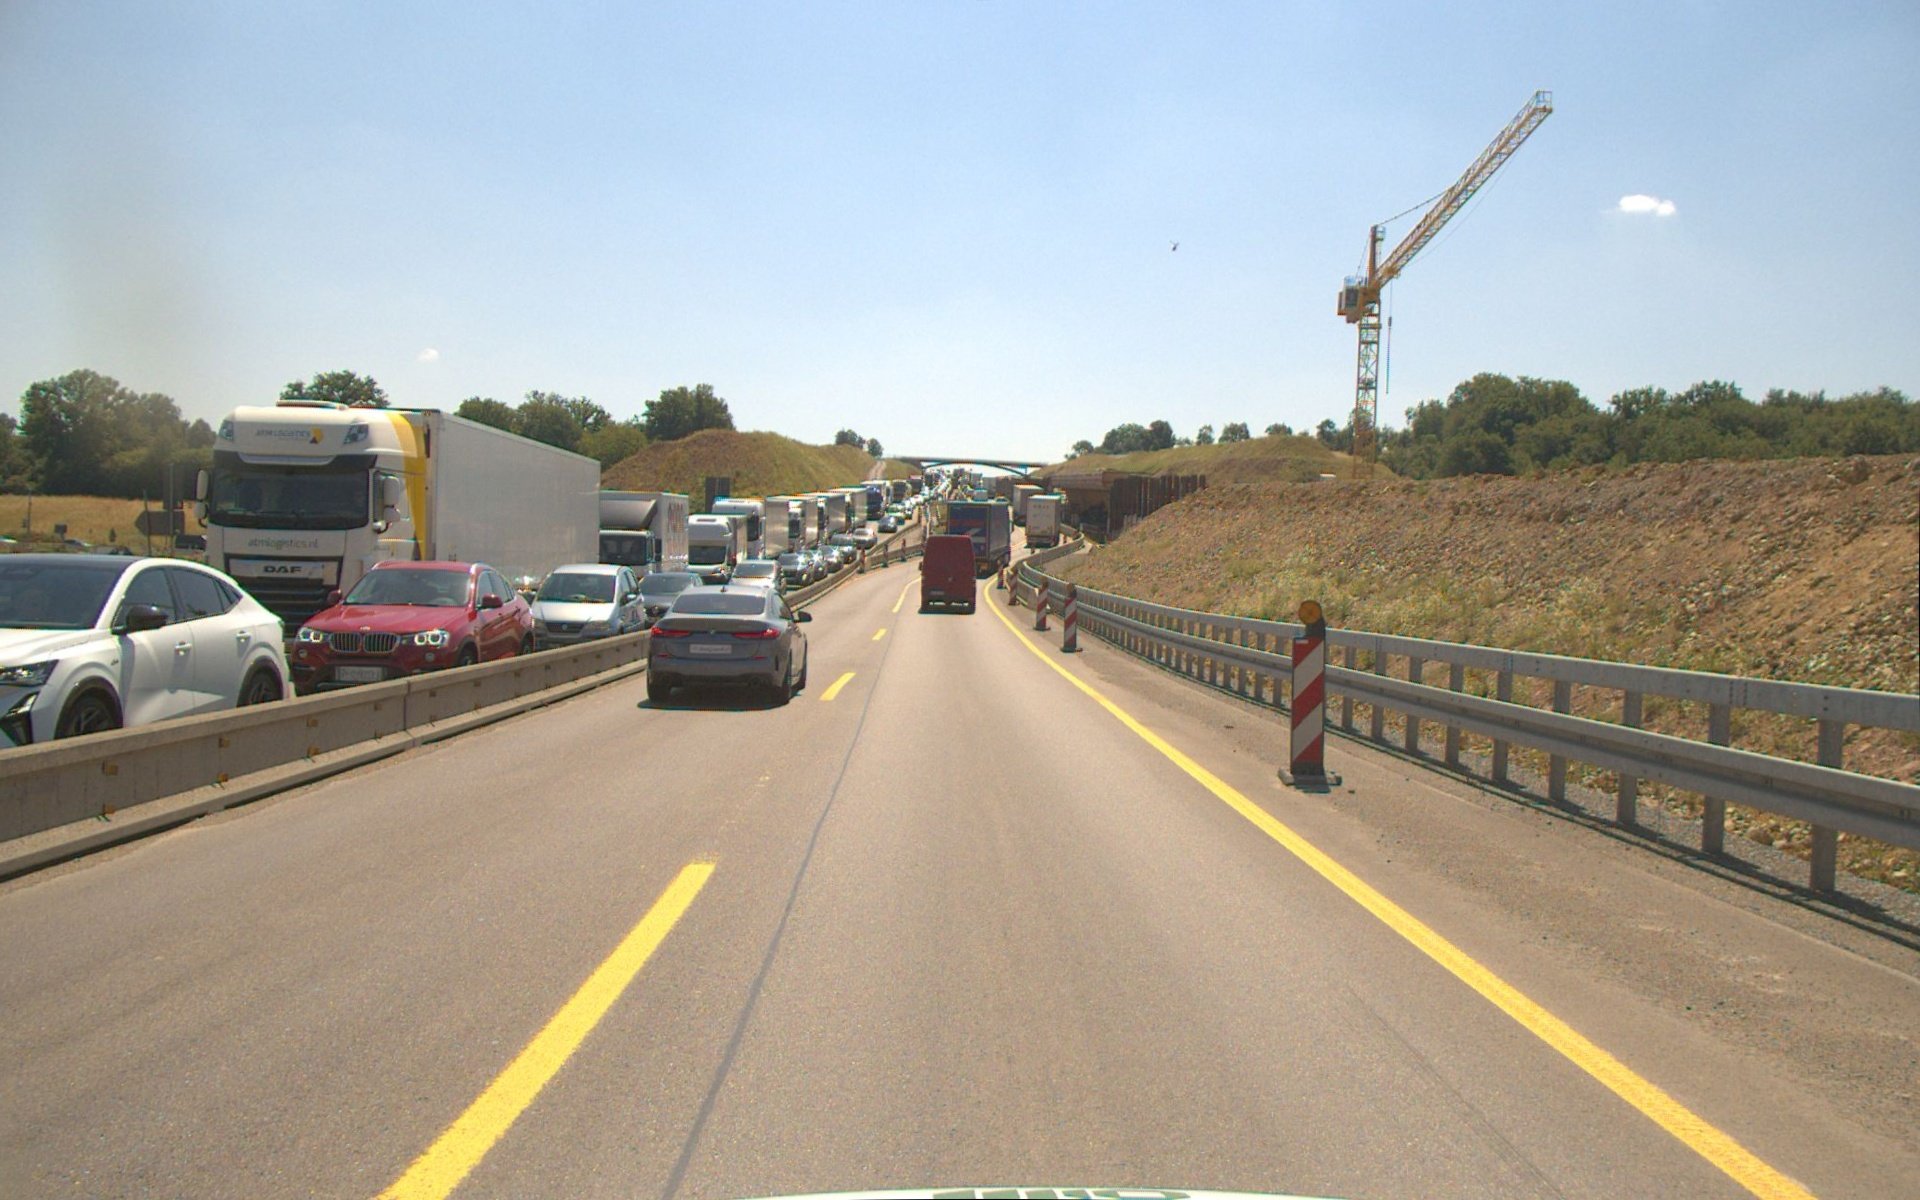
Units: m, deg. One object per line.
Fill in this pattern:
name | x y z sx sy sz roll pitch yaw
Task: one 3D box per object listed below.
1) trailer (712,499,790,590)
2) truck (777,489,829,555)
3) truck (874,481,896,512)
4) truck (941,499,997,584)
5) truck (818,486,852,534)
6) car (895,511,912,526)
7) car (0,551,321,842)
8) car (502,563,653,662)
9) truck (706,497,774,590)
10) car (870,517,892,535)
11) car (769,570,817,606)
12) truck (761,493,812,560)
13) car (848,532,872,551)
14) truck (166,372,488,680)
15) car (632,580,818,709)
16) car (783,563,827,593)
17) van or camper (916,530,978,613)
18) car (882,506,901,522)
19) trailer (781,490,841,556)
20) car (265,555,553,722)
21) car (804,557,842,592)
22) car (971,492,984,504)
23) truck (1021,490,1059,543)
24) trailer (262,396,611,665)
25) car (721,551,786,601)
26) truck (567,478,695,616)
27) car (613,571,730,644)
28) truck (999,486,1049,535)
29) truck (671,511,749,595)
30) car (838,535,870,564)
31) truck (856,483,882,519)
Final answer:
trailer | -10.767 -2.870 86.333 2.542 4.331 12.468 1 2 -1
truck | -11.224 -5.568 118.436 2.989 4.558 5.981 1 2 1
truck | -10.232 -14.164 226.303 2.830 3.905 7.999 1 2 -3
truck | 0.600 -3.432 97.111 2.957 4.774 6.936 0 2 3
truck | -10.860 -7.771 144.255 2.629 3.905 7.383 1 2 -3
car | -6.674 -9.610 194.846 1.913 1.556 4.267 1 2 -1
car | -6.410 0.512 11.756 1.953 1.648 4.880 1 0 -2
car | -6.655 0.188 29.173 1.790 1.601 3.999 1 0 -1
truck | -10.690 -2.748 80.802 2.499 4.304 6.530 1 2 -1
car | -7.594 -7.074 158.514 1.913 1.556 4.267 1 2 -1
car | -7.514 -0.546 74.916 1.790 1.562 4.545 0 0 -1
truck | -10.761 -4.523 102.947 2.726 3.937 5.459 1 0 -2
car | -7.808 -4.577 129.417 1.711 1.433 4.000 1 2 -1
truck | -9.737 -1.085 26.183 2.917 4.257 5.872 1 1 -2
car | -2.984 0.501 21.944 1.814 1.477 4.741 2 1 -1
car | -7.961 -1.140 85.259 1.864 1.400 4.546 -1 2 -1
van or camper | -0.505 -1.038 59.047 1.988 2.791 4.514 1 2 -3
car | -7.378 -9.269 178.541 1.913 1.556 4.267 1 2 -1
trailer | -11.097 -5.722 124.485 2.979 4.631 12.132 1 2 2
car | -6.432 0.344 19.934 1.953 1.659 4.757 2 2 -2
car | -7.845 -1.422 95.214 1.953 1.814 3.998 1 -2 -2
car | 2.722 -15.745 255.544 1.913 1.669 4.267 1 2 -1
truck | 6.854 -7.025 140.253 2.974 4.172 7.089 1 0 4
trailer | -9.926 -1.227 33.689 2.925 4.281 13.943 1 1 -1
car | -7.158 -0.830 57.658 1.790 1.680 4.545 0 0 -1
truck | -10.226 -1.631 52.258 2.474 3.922 8.669 1 1 -2
car | -6.724 0.175 38.971 1.953 1.584 4.338 1 0 0
truck | 7.359 -10.076 187.855 5.051 5.084 13.886 -1 1 5
truck | -10.138 -1.946 67.588 2.385 3.202 7.022 1 2 -2
car | -6.894 -3.319 107.902 1.953 1.814 3.999 1 2 -2
truck | -10.586 -11.482 192.507 2.830 3.905 7.999 1 2 -3
